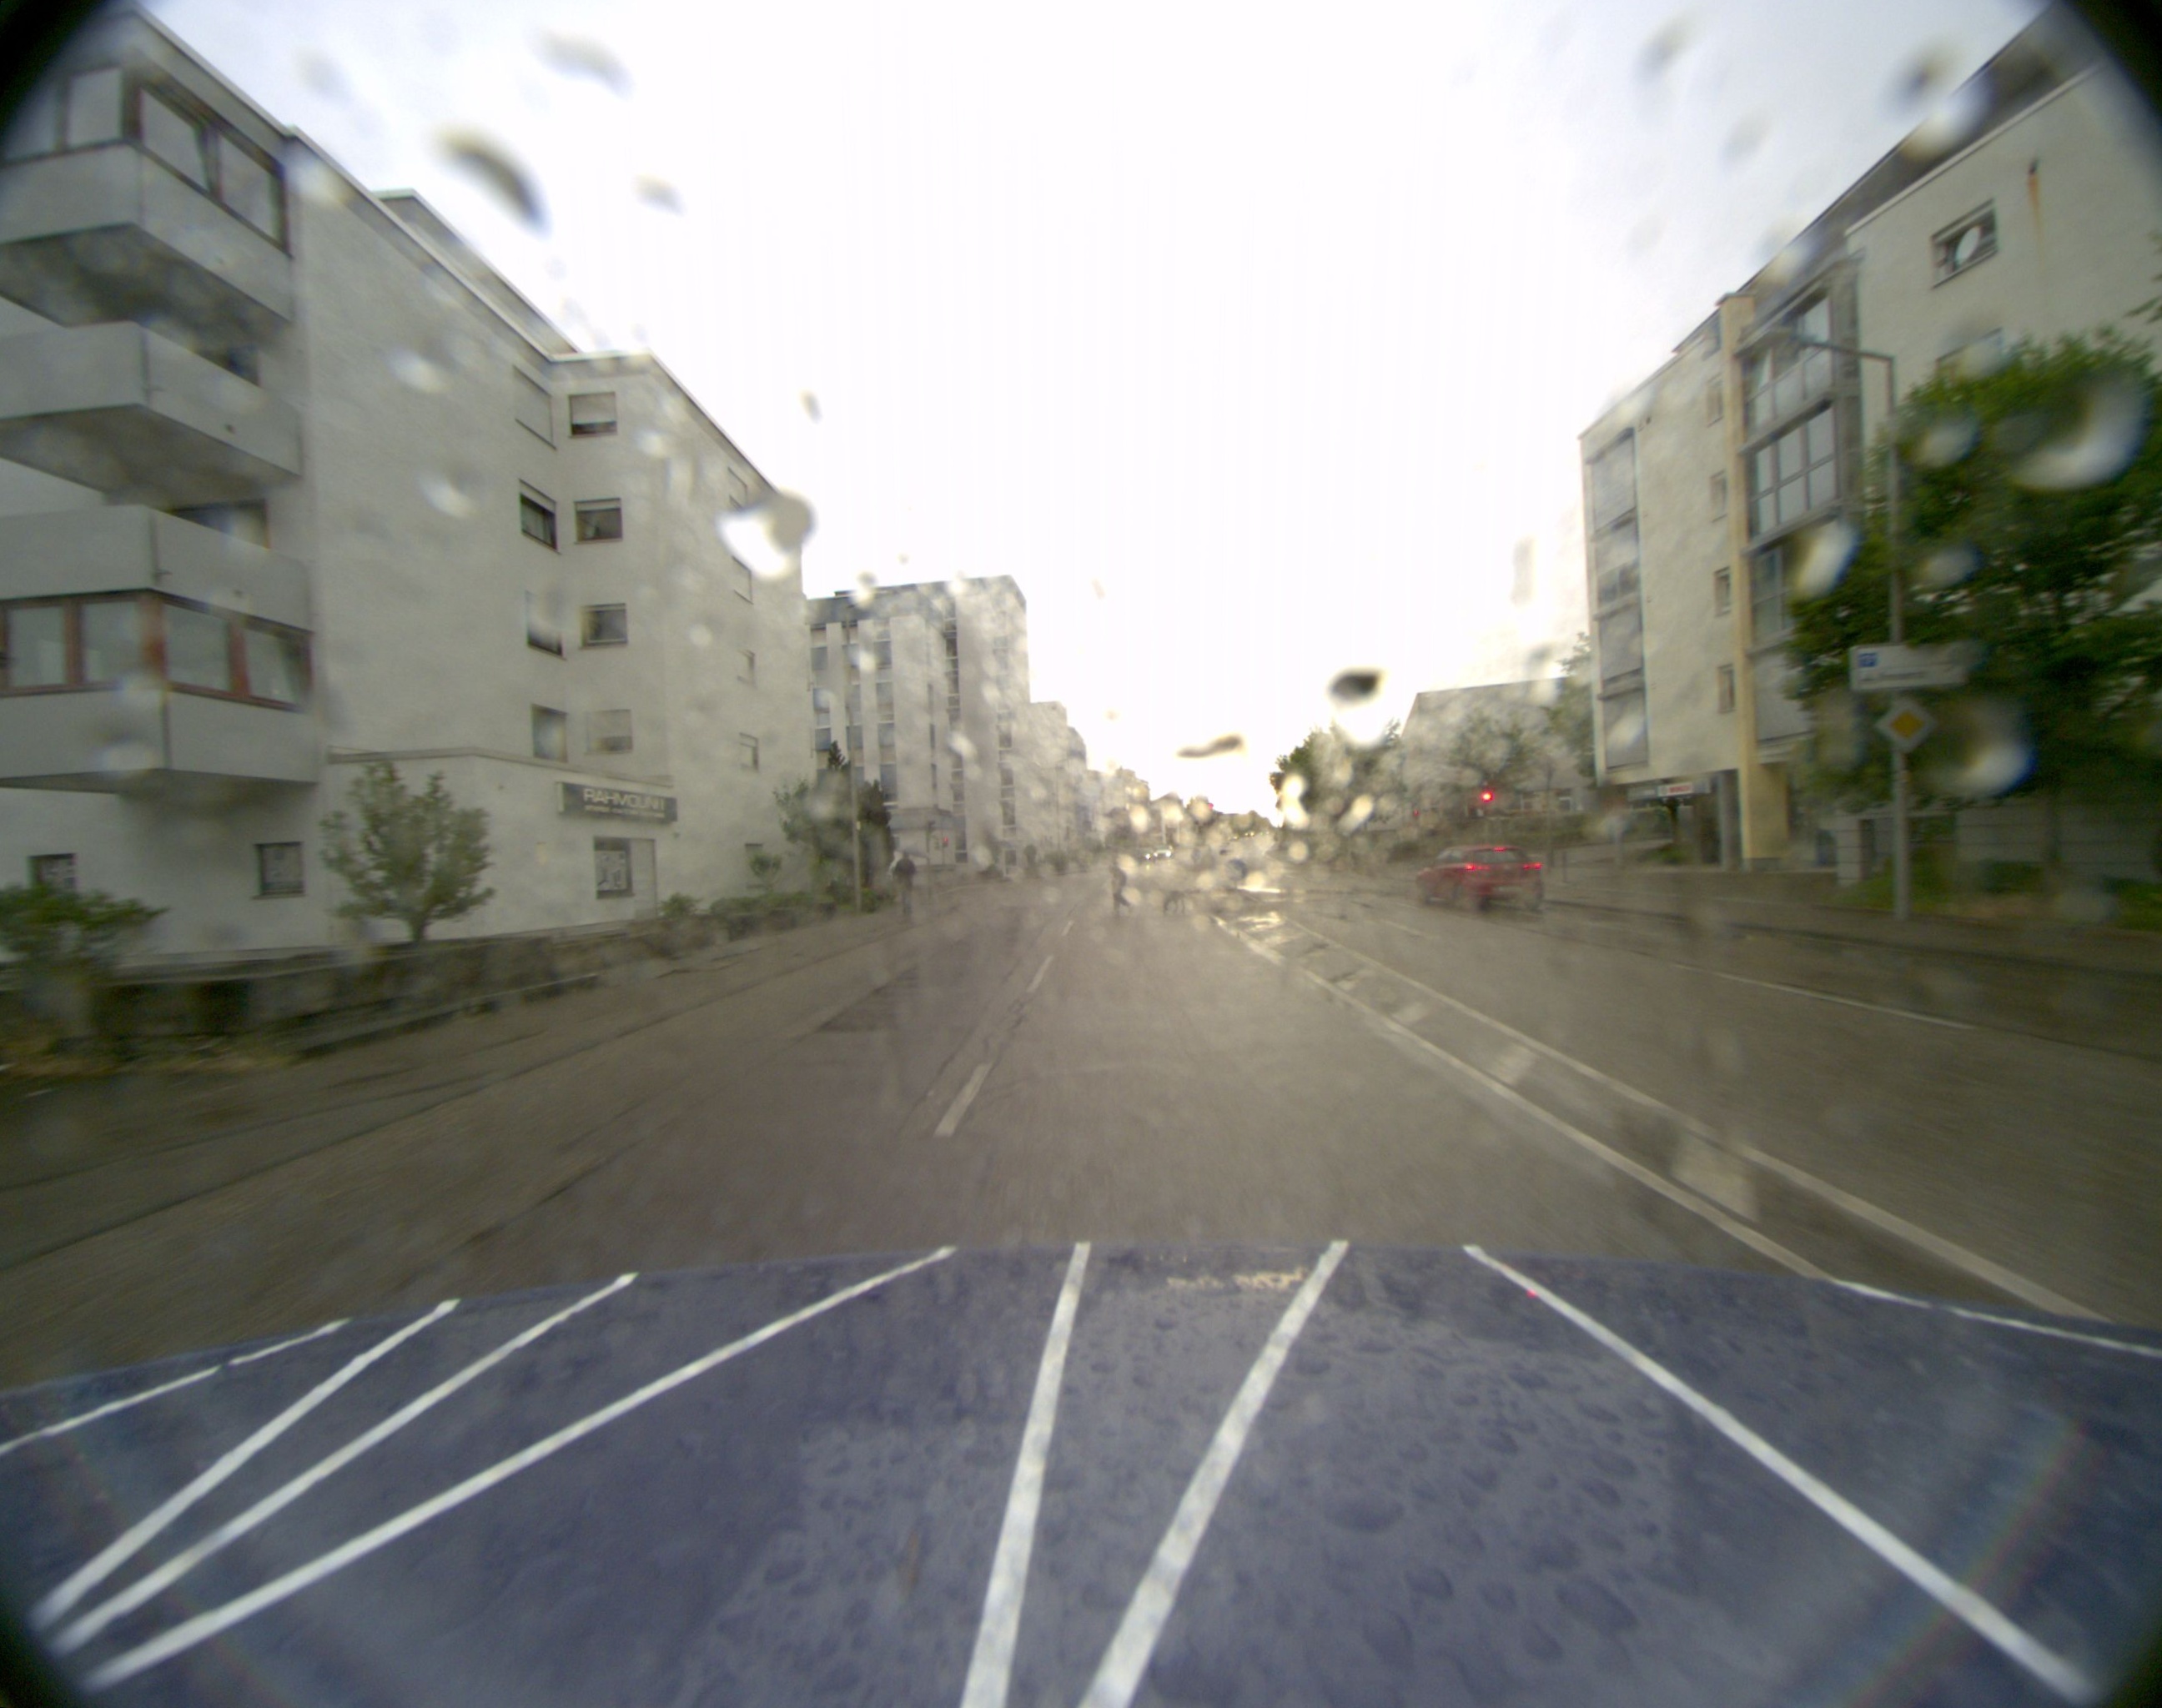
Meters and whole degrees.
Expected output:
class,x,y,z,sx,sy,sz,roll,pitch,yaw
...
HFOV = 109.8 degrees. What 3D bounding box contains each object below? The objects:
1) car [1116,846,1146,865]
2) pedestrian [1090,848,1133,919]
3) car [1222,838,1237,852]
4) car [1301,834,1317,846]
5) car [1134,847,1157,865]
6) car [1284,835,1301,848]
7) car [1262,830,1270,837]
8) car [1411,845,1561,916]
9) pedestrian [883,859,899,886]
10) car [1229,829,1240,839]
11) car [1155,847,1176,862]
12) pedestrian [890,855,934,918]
class,x,y,z,sx,sy,sz,roll,pitch,yaw
car,4.206,0.111,63.103,1.739,1.477,4.153,-3,0,14
pedestrian,0.768,0.732,19.050,0.667,1.692,0.948,-3,1,24
car,19.601,-1.216,100.251,1.692,1.546,3.909,-5,1,13
car,30.607,-1.867,101.973,1.734,1.470,4.026,-4,0,20
car,6.175,0.178,72.630,1.752,1.470,4.002,-4,0,10
car,28.430,-1.688,102.117,1.734,1.470,4.026,-4,0,20
car,48.431,-5.303,198.562,1.827,1.677,4.004,-2,0,16
car,9.507,0.552,18.223,1.779,1.498,4.105,0,1,6
pedestrian,-12.370,1.215,49.468,0.645,1.642,0.656,-7,1,6
car,33.465,-4.366,165.645,1.997,2.002,4.003,-7,0,15
car,9.886,0.006,88.402,1.897,1.535,4.024,-4,0,12
pedestrian,-4.420,0.834,19.937,0.754,1.559,0.993,-5,1,5
